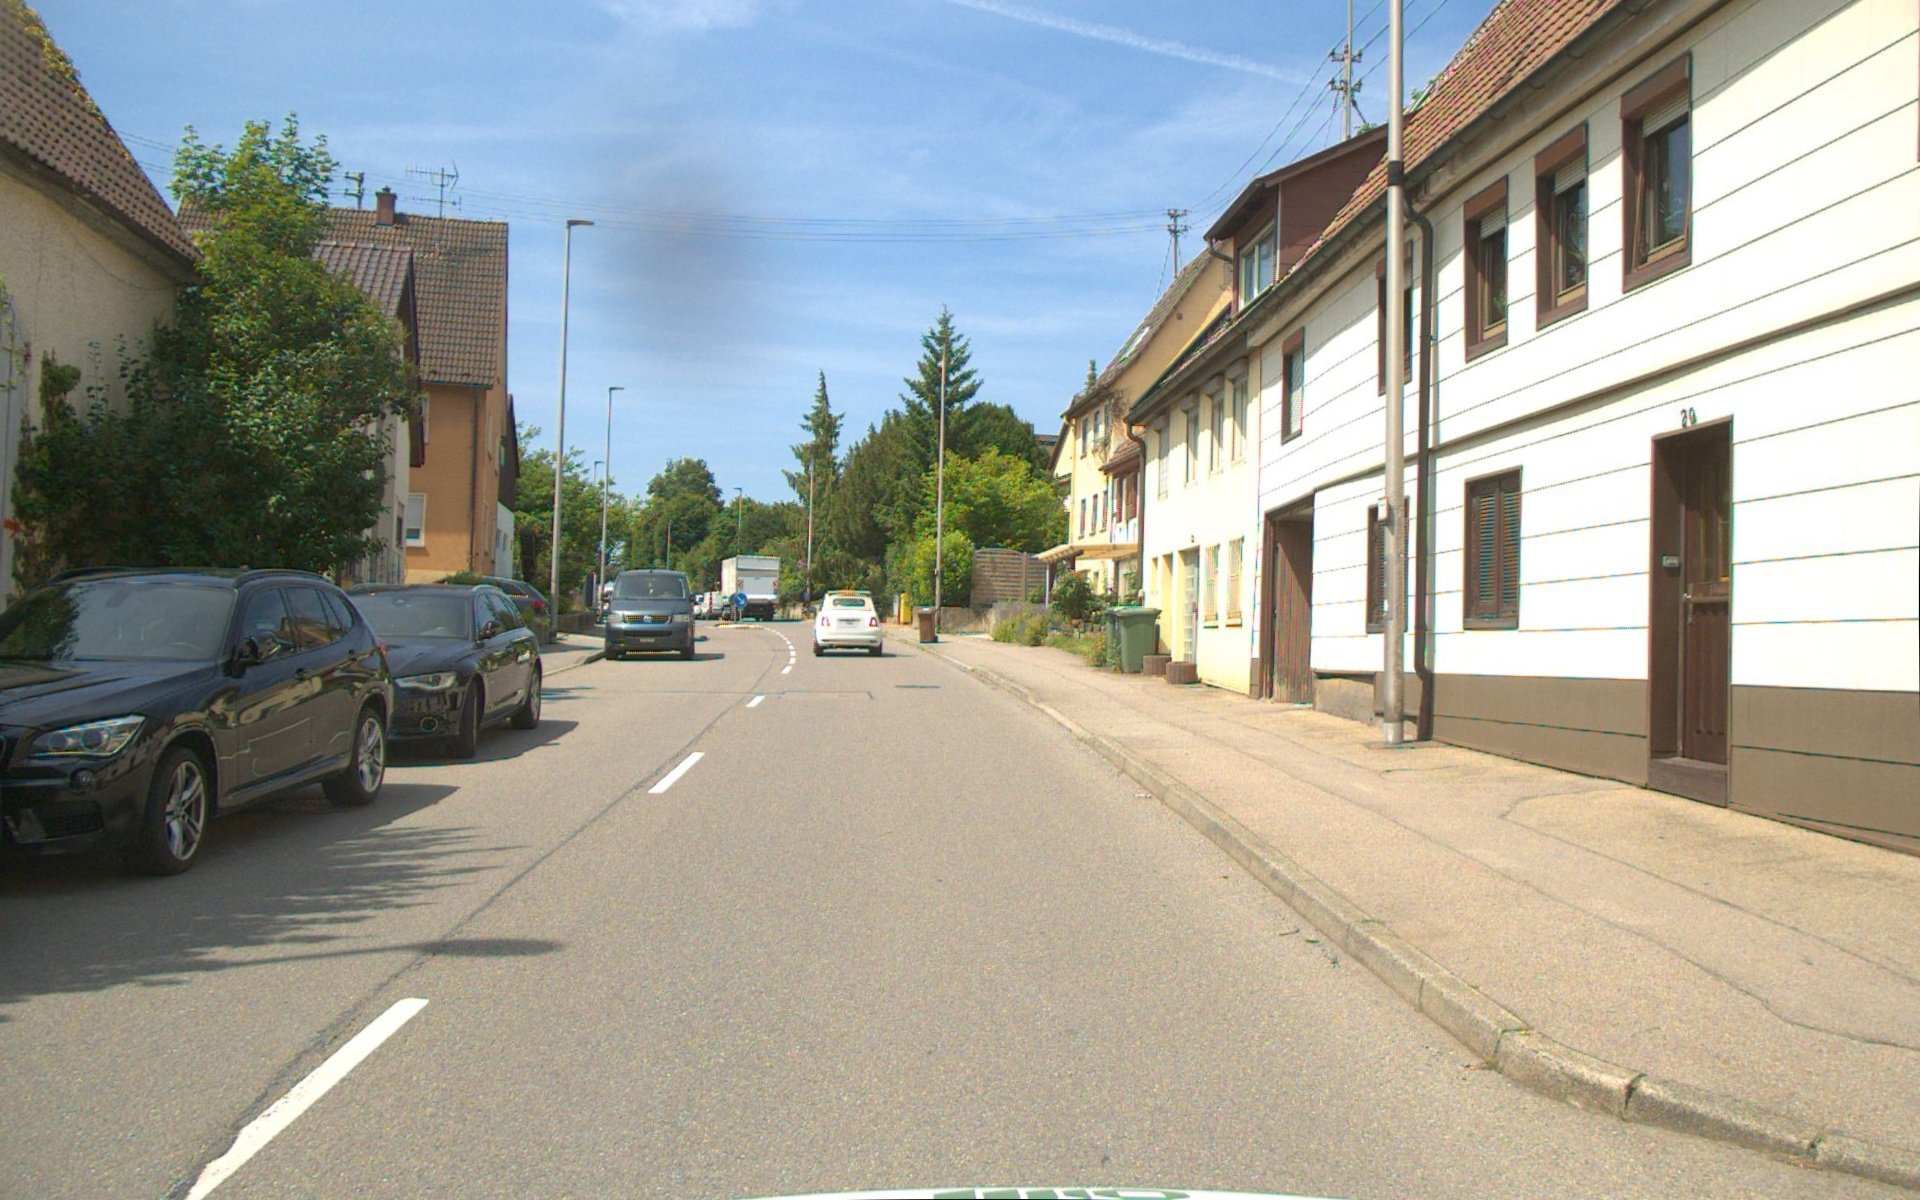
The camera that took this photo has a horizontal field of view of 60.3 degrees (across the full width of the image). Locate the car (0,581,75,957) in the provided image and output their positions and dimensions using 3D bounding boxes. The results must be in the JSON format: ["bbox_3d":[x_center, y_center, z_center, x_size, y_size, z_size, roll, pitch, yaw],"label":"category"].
[{"bbox_3d":[-4.590,0.684,4.766,1.753,1.489,4.709,0,0,-3],"label":"car"}]

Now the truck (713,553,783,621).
[{"bbox_3d":[-12.640,-0.701,97.924,3.019,3.840,7.833,0,-1,-16],"label":"truck"}]

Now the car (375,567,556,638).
[{"bbox_3d":[-12.450,0.062,41.899,4.156,1.430,1.816,5,-1,-13],"label":"car"}]

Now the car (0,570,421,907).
[{"bbox_3d":[-4.735,0.603,9.749,1.719,1.547,4.300,0,1,0],"label":"car"}]

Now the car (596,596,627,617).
[{"bbox_3d":[-24.299,0.480,115.143,1.776,1.422,3.980,0,0,-17],"label":"car"}]

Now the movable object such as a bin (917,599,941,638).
[{"bbox_3d":[-0.861,0.511,45.746,0.484,1.051,0.549,-3,0,16],"label":"movable object such as a bin"}]

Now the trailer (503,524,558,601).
[{"bbox_3d":[-17.127,-1.451,66.169,1.681,2.898,6.157,1,0,-11],"label":"trailer"}]

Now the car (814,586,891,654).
[{"bbox_3d":[-2.570,0.462,40.354,1.690,1.587,3.999,0,0,-1],"label":"car"}]

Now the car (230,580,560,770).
[{"bbox_3d":[-5.085,0.567,15.599,1.783,1.499,4.772,0,1,-4],"label":"car"}]

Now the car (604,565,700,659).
[{"bbox_3d":[-6.877,0.249,37.360,1.855,1.971,4.977,-1,0,-8],"label":"car"}]

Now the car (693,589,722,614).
[{"bbox_3d":[-18.546,0.128,121.400,1.510,1.699,3.980,2,0,-18],"label":"car"}]

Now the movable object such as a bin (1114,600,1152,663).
[{"bbox_3d":[2.990,0.538,28.669,0.536,1.051,0.551,-2,1,-4],"label":"movable object such as a bin"}]

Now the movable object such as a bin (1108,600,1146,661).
[{"bbox_3d":[2.950,0.536,29.244,0.536,1.051,0.551,-2,1,-4],"label":"movable object such as a bin"}]

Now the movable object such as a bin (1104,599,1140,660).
[{"bbox_3d":[2.920,0.530,29.840,0.536,1.051,0.551,-2,1,-4],"label":"movable object such as a bin"}]

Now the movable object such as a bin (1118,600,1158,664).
[{"bbox_3d":[3.019,0.543,28.092,0.536,1.051,0.551,-2,1,-4],"label":"movable object such as a bin"}]
